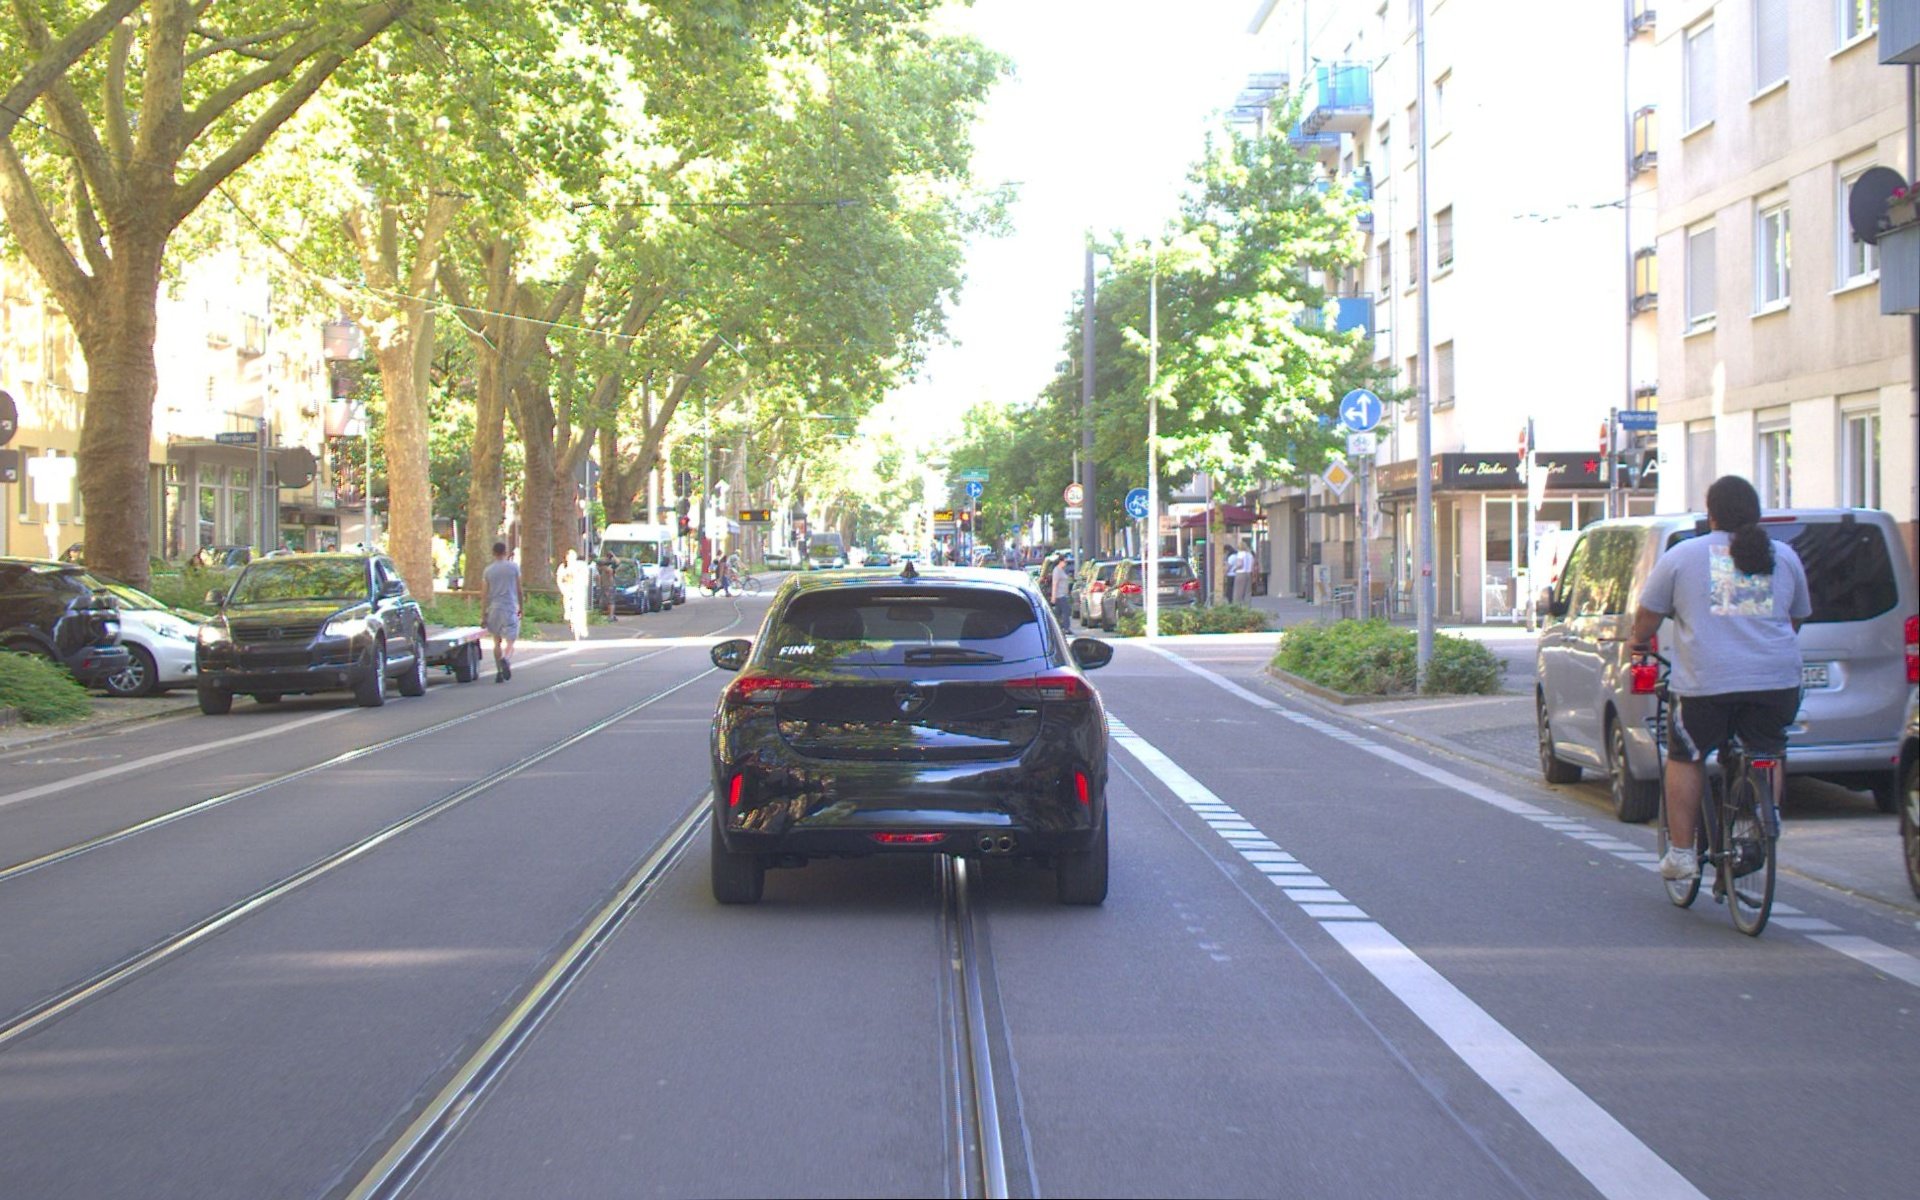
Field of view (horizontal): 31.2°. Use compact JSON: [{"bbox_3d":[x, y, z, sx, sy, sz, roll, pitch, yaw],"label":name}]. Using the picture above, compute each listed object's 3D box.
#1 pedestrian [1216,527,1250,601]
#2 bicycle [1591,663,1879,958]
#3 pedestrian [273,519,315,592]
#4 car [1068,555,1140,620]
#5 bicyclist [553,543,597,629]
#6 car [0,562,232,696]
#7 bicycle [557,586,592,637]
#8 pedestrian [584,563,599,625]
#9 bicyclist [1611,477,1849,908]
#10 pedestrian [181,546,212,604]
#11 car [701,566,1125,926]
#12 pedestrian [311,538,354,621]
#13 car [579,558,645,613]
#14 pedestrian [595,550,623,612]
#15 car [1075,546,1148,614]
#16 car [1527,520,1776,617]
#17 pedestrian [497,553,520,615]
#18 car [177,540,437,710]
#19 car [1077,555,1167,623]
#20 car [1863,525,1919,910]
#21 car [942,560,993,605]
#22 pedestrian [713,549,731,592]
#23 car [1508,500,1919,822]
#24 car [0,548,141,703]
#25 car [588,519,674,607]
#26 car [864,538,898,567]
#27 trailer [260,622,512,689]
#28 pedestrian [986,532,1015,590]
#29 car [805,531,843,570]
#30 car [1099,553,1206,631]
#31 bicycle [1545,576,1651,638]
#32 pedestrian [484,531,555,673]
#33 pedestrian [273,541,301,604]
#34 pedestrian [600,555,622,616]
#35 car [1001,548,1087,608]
[{"bbox_3d":[6.558,-0.867,82.502,0.768,1.742,0.795,0,1,7],"label":"pedestrian"},{"bbox_3d":[3.216,0.841,14.449,0.701,1.088,1.990,2,0,-1],"label":"bicycle"},{"bbox_3d":[-14.979,-1.000,77.343,0.846,1.627,0.644,0,1,-6],"label":"pedestrian"},{"bbox_3d":[3.568,-0.319,85.646,1.718,1.568,3.682,0,1,1],"label":"car"},{"bbox_3d":[-7.528,-0.276,67.319,0.784,1.672,0.957,-1,1,-3],"label":"bicyclist"},{"bbox_3d":[-10.690,0.325,40.208,3.986,1.516,1.771,0,1,-1],"label":"car"},{"bbox_3d":[-7.552,0.219,67.376,0.520,0.959,1.929,-1,1,-2],"label":"bicycle"},{"bbox_3d":[-9.483,-0.156,88.512,0.346,1.577,0.508,0,1,-2],"label":"pedestrian"},{"bbox_3d":[3.220,0.370,14.449,0.786,1.753,0.915,0,0,-1],"label":"bicyclist"},{"bbox_3d":[-18.316,-0.602,82.517,0.552,1.398,0.649,0,1,3],"label":"pedestrian"},{"bbox_3d":[-0.220,0.570,15.685,1.679,1.418,3.628,1,1,-1],"label":"car"},{"bbox_3d":[-14.261,-0.474,78.164,0.905,1.862,0.644,0,1,-6],"label":"pedestrian"},{"bbox_3d":[-9.960,-0.431,98.588,1.754,1.503,4.001,0,1,-4],"label":"car"},{"bbox_3d":[-9.107,-0.495,89.186,0.683,1.577,0.557,0,1,-2],"label":"pedestrian"},{"bbox_3d":[3.585,-0.492,81.643,1.651,1.568,3.083,0,1,1],"label":"car"},{"bbox_3d":[13.401,-0.616,66.768,4.358,1.824,2.000,0,1,-4],"label":"car"},{"bbox_3d":[-11.644,-0.421,88.643,0.506,1.577,0.527,-1,1,-18],"label":"pedestrian"},{"bbox_3d":[-7.109,0.223,37.865,1.993,1.694,4.485,-2,1,-1],"label":"car"},{"bbox_3d":[3.643,-0.257,77.677,1.718,1.485,3.682,0,1,-2],"label":"car"},{"bbox_3d":[5.148,0.534,13.908,1.766,1.699,4.283,0,1,-1],"label":"car"},{"bbox_3d":[0.297,-0.662,129.238,1.858,1.646,4.000,0,1,1],"label":"car"},{"bbox_3d":[-8.807,-1.087,127.372,0.594,1.584,0.893,-1,1,-7],"label":"pedestrian"},{"bbox_3d":[4.893,0.322,22.651,1.858,1.883,4.924,0,1,1],"label":"car"},{"bbox_3d":[-11.145,0.261,37.519,3.986,1.641,1.894,0,1,-1],"label":"car"},{"bbox_3d":[-9.984,-1.147,104.671,2.092,2.575,5.997,0,1,-1],"label":"car"},{"bbox_3d":[-4.538,-2.724,197.958,1.750,1.646,4.000,0,1,1],"label":"car"},{"bbox_3d":[-7.119,0.672,43.325,2.160,0.629,6.400,0,1,-1],"label":"trailer"},{"bbox_3d":[1.435,-1.389,122.758,0.856,2.007,1.069,-5,0,0],"label":"pedestrian"},{"bbox_3d":[-7.930,-2.899,199.941,1.993,2.204,5.103,0,1,-5],"label":"car"},{"bbox_3d":[4.011,-0.193,72.230,1.718,1.568,4.085,0,1,-4],"label":"car"},{"bbox_3d":[11.784,0.120,63.511,1.836,1.113,0.703,0,1,3],"label":"bicycle"},{"bbox_3d":[-5.486,0.020,42.816,0.711,1.729,0.913,-2,1,-15],"label":"pedestrian"},{"bbox_3d":[-17.553,-0.717,89.721,0.552,1.646,0.649,0,1,3],"label":"pedestrian"},{"bbox_3d":[-8.983,-0.375,88.432,0.506,1.577,0.527,0,1,-1],"label":"pedestrian"},{"bbox_3d":[2.336,-0.626,96.606,1.993,1.634,4.001,0,1,-4],"label":"car"}]
